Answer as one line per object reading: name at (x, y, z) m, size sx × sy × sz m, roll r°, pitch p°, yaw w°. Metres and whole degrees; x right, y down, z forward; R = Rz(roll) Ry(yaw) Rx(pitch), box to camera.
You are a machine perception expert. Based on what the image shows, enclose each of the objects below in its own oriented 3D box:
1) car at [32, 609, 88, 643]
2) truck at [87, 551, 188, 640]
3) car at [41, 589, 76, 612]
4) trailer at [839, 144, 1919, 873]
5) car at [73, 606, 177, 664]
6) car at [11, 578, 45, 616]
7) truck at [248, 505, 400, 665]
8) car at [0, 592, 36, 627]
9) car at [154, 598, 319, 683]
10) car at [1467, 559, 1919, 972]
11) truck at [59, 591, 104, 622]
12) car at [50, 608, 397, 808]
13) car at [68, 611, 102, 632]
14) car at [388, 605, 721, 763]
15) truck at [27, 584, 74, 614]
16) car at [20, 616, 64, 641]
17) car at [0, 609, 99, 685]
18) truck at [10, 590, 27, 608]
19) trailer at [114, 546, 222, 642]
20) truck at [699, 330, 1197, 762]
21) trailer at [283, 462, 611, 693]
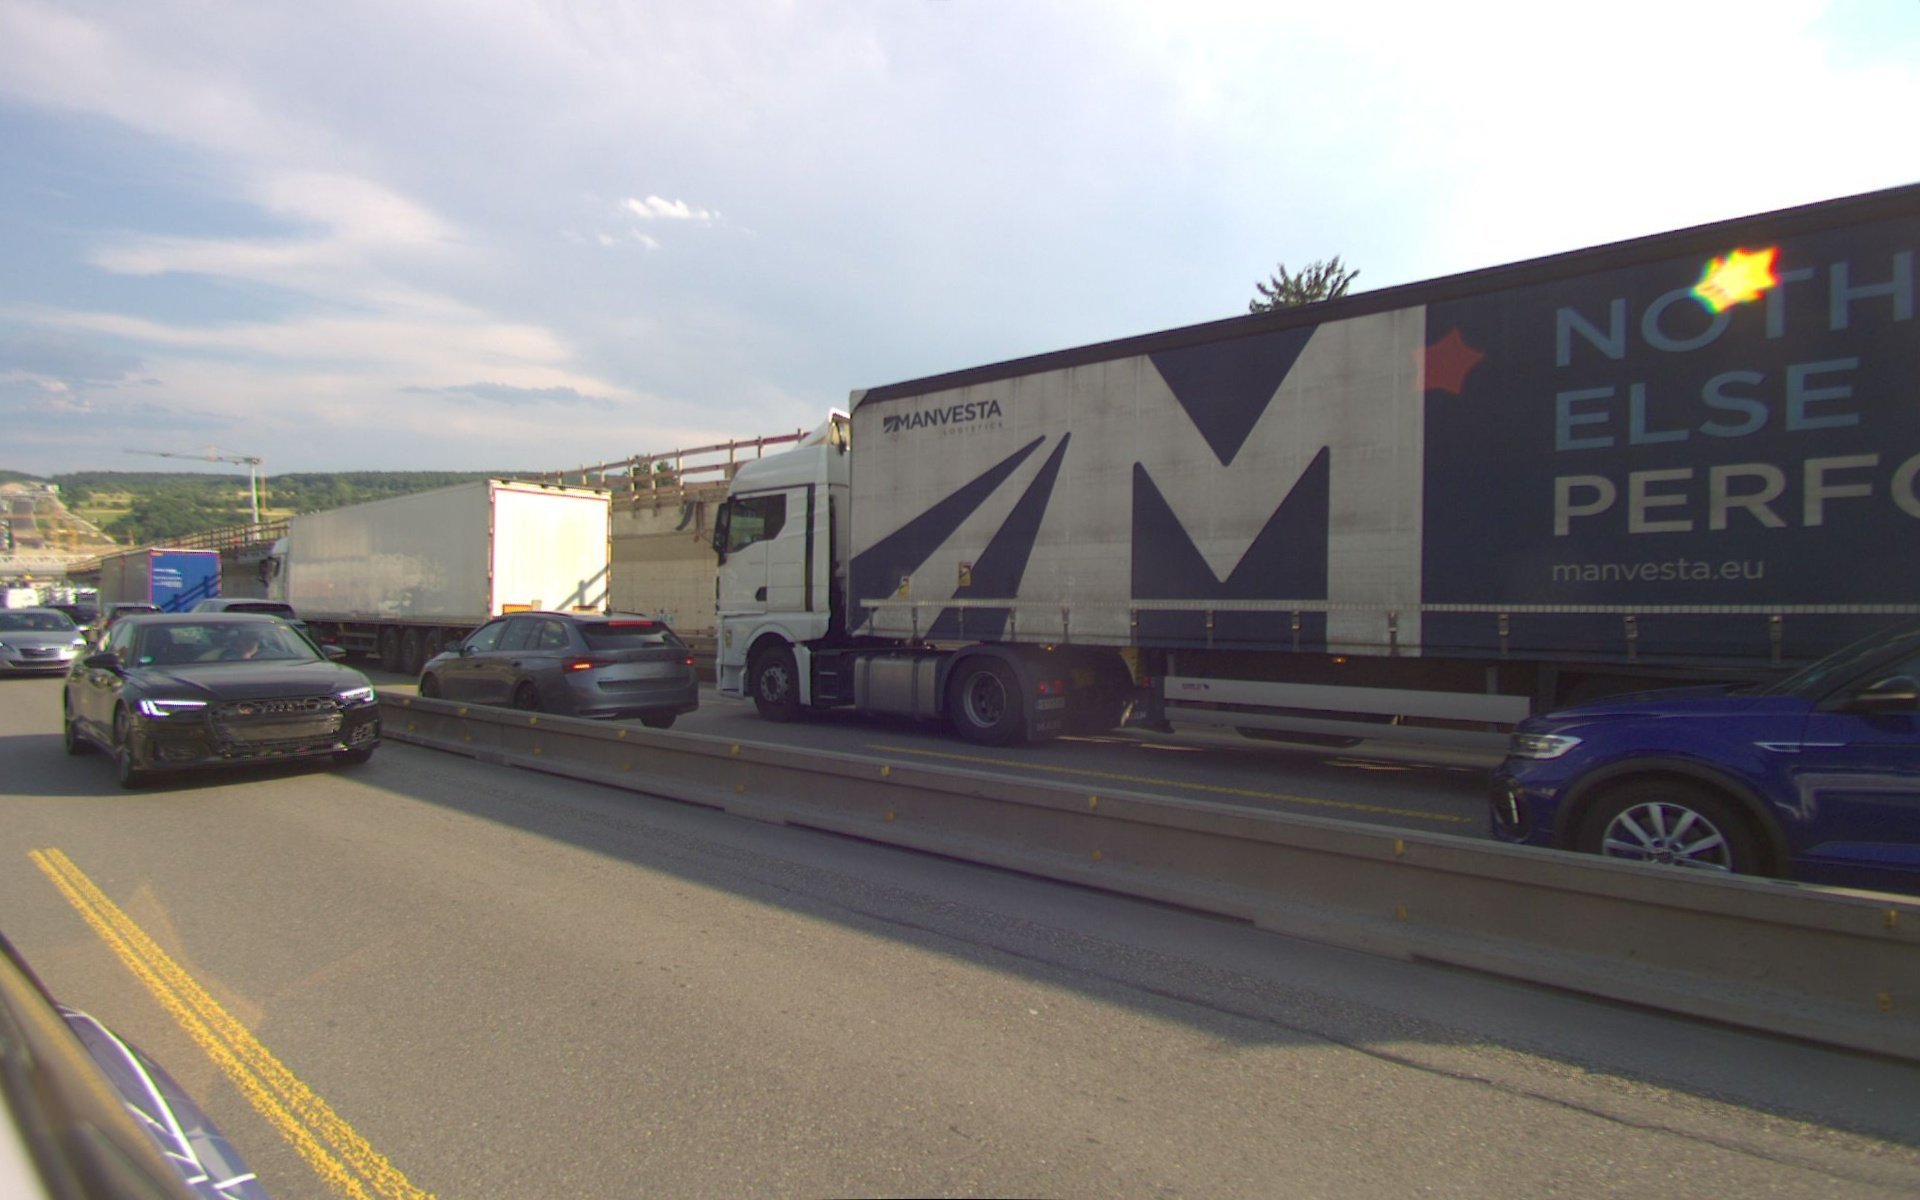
car at (-43.911, 1.241, 49.356) m, size 4.371 × 1.588 × 1.680 m, roll 0°, pitch -1°, yaw 44°
truck at (-43.887, -0.191, 53.832) m, size 10.583 × 4.290 × 2.784 m, roll 0°, pitch -1°, yaw 44°
car at (-87.300, 0.035, 97.966) m, size 3.975 × 2.037 × 2.184 m, roll 0°, pitch 2°, yaw 45°
trailer at (4.661, -0.516, 8.503) m, size 13.827 × 4.235 × 2.747 m, roll 0°, pitch -1°, yaw 41°
car at (-26.802, 1.063, 32.433) m, size 4.730 × 1.619 × 1.861 m, roll 0°, pitch 2°, yaw 42°
car at (-140.101, -0.392, 152.081) m, size 3.281 × 5.428 × 14.309 m, roll 1°, pitch -1°, yaw -44°
truck at (-19.015, -0.387, 30.140) m, size 5.473 × 4.348 × 2.429 m, roll 0°, pitch -1°, yaw 43°
car at (-74.189, 0.744, 79.543) m, size 5.615 × 2.636 × 1.973 m, roll -1°, pitch -2°, yaw 44°
car at (-16.547, 0.815, 23.046) m, size 4.973 × 1.667 × 1.987 m, roll 0°, pitch 2°, yaw 42°
car at (4.696, 0.626, 4.066) m, size 4.477 × 1.562 × 1.748 m, roll 1°, pitch 1°, yaw 41°
truck at (-71.891, 0.499, 82.769) m, size 6.067 × 2.318 × 2.249 m, roll 0°, pitch 2°, yaw 45°
car at (-7.518, 0.850, 10.067) m, size 5.224 × 1.491 × 1.918 m, roll -1°, pitch -2°, yaw 44°
car at (-64.221, 1.576, 74.262) m, size 1.688 × 1.397 × 4.004 m, roll -4°, pitch 2°, yaw -43°
car at (-5.083, 0.852, 12.320) m, size 4.812 × 1.467 × 1.756 m, roll 1°, pitch 1°, yaw 41°
truck at (-97.405, -0.096, 108.328) m, size 6.490 × 3.169 × 3.199 m, roll 0°, pitch -1°, yaw 43°
car at (-57.417, 1.739, 63.284) m, size 4.593 × 1.451 × 1.723 m, roll -1°, pitch 0°, yaw 44°
car at (-20.081, 0.951, 21.671) m, size 4.114 × 1.498 × 1.787 m, roll 0°, pitch -2°, yaw 40°
truck at (-174.162, -0.142, 187.143) m, size 5.765 × 3.196 × 1.971 m, roll 0°, pitch -1°, yaw 44°
trailer at (-37.096, -0.222, 47.295) m, size 8.289 × 4.136 × 2.784 m, roll 0°, pitch -1°, yaw 44°
truck at (-0.383, -0.510, 12.954) m, size 6.112 × 4.235 × 2.735 m, roll 0°, pitch -1°, yaw 41°
trailer at (-13.130, -0.400, 24.707) m, size 13.774 × 4.353 × 2.429 m, roll 0°, pitch -1°, yaw 43°
